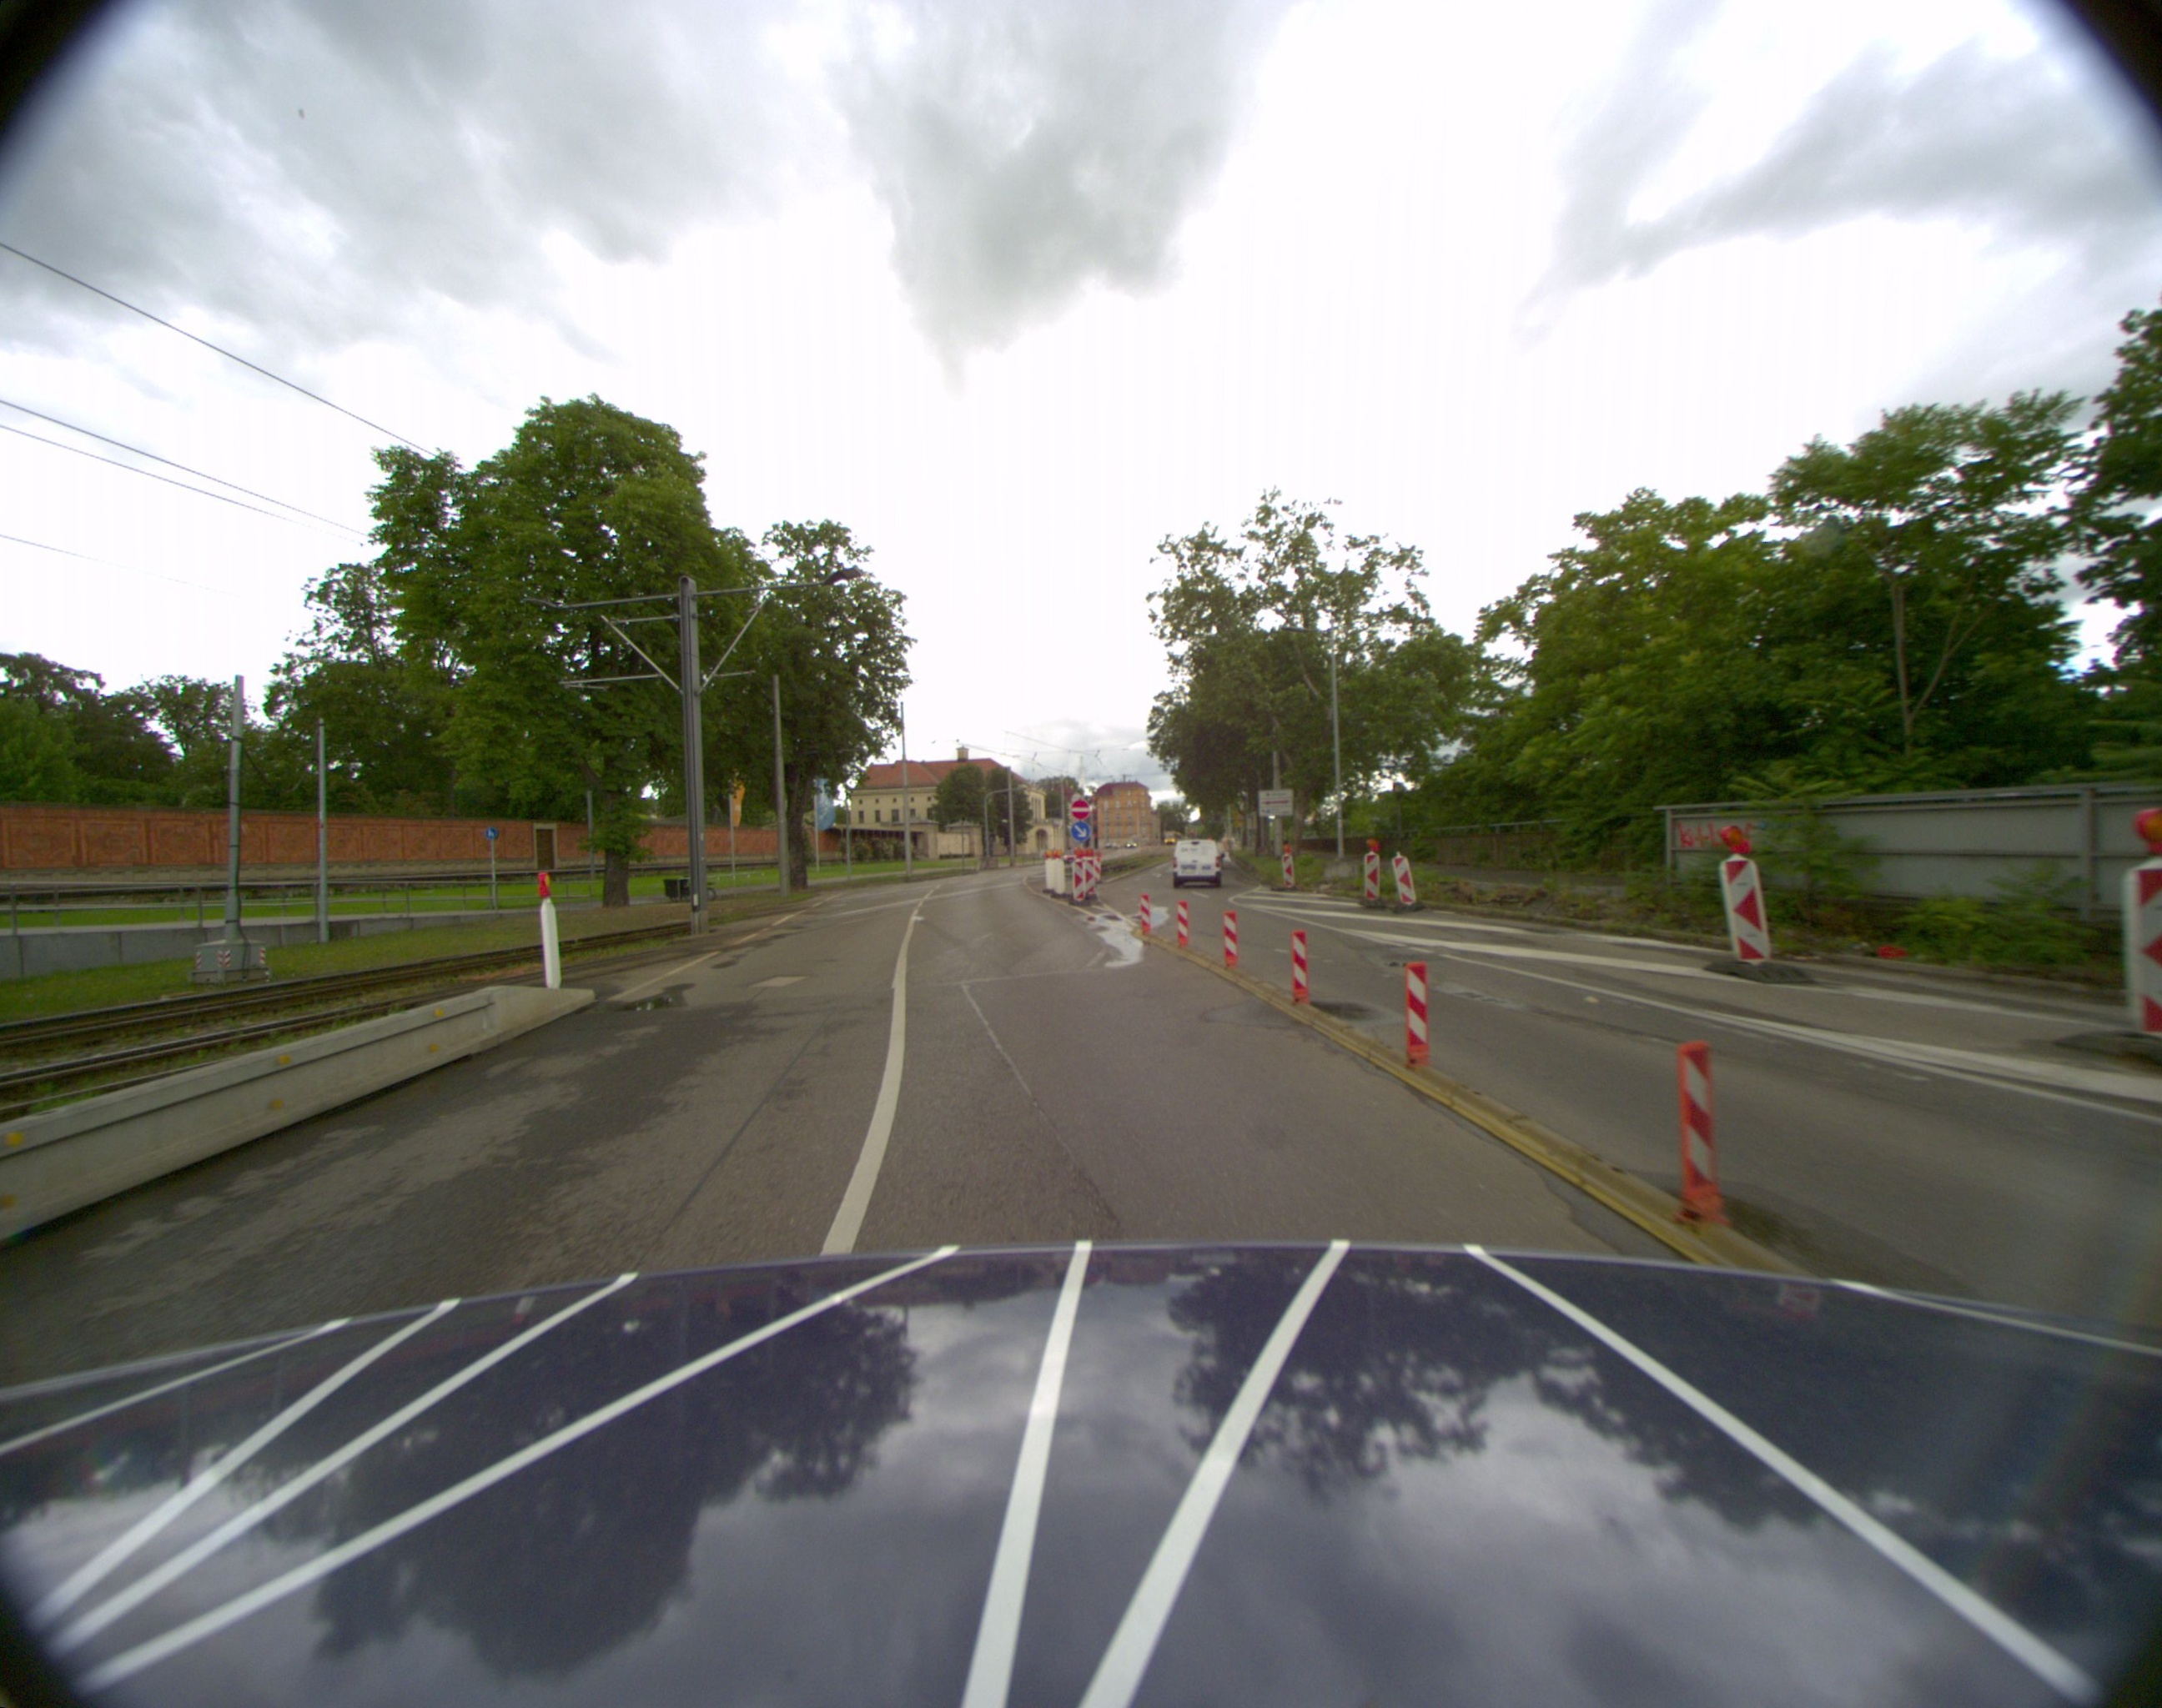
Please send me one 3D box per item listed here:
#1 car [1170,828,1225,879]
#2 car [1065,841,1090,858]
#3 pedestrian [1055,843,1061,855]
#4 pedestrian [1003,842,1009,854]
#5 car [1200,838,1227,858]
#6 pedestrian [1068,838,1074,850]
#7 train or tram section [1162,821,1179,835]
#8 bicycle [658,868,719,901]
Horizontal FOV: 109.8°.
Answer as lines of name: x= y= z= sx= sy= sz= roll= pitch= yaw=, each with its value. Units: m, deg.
car: x=4.488 y=-0.087 z=29.895 sx=1.867 sy=1.772 sz=4.749 roll=-2 pitch=2 yaw=6
car: x=-0.347 y=-0.471 z=73.750 sx=1.680 sy=1.434 sz=4.121 roll=-4 pitch=1 yaw=9
pedestrian: x=-3.368 y=-0.764 z=112.417 sx=0.672 sy=1.758 sz=0.937 roll=-1 pitch=2 yaw=9
pedestrian: x=-11.521 y=-0.980 z=116.881 sx=0.596 sy=1.782 sz=0.809 roll=-1 pitch=2 yaw=9
car: x=9.758 y=-0.453 z=56.137 sx=1.698 sy=1.453 sz=3.914 roll=-1 pitch=1 yaw=7
pedestrian: x=-1.464 y=-1.513 z=113.497 sx=0.672 sy=1.758 sz=0.937 roll=-1 pitch=2 yaw=9
train or tram section: x=24.038 y=-7.036 z=203.094 sx=3.736 sy=3.347 sz=17.560 roll=0 pitch=3 yaw=9
bicycle: x=-14.516 y=1.143 z=28.112 sx=1.994 sy=1.151 sz=0.741 roll=-1 pitch=2 yaw=15
